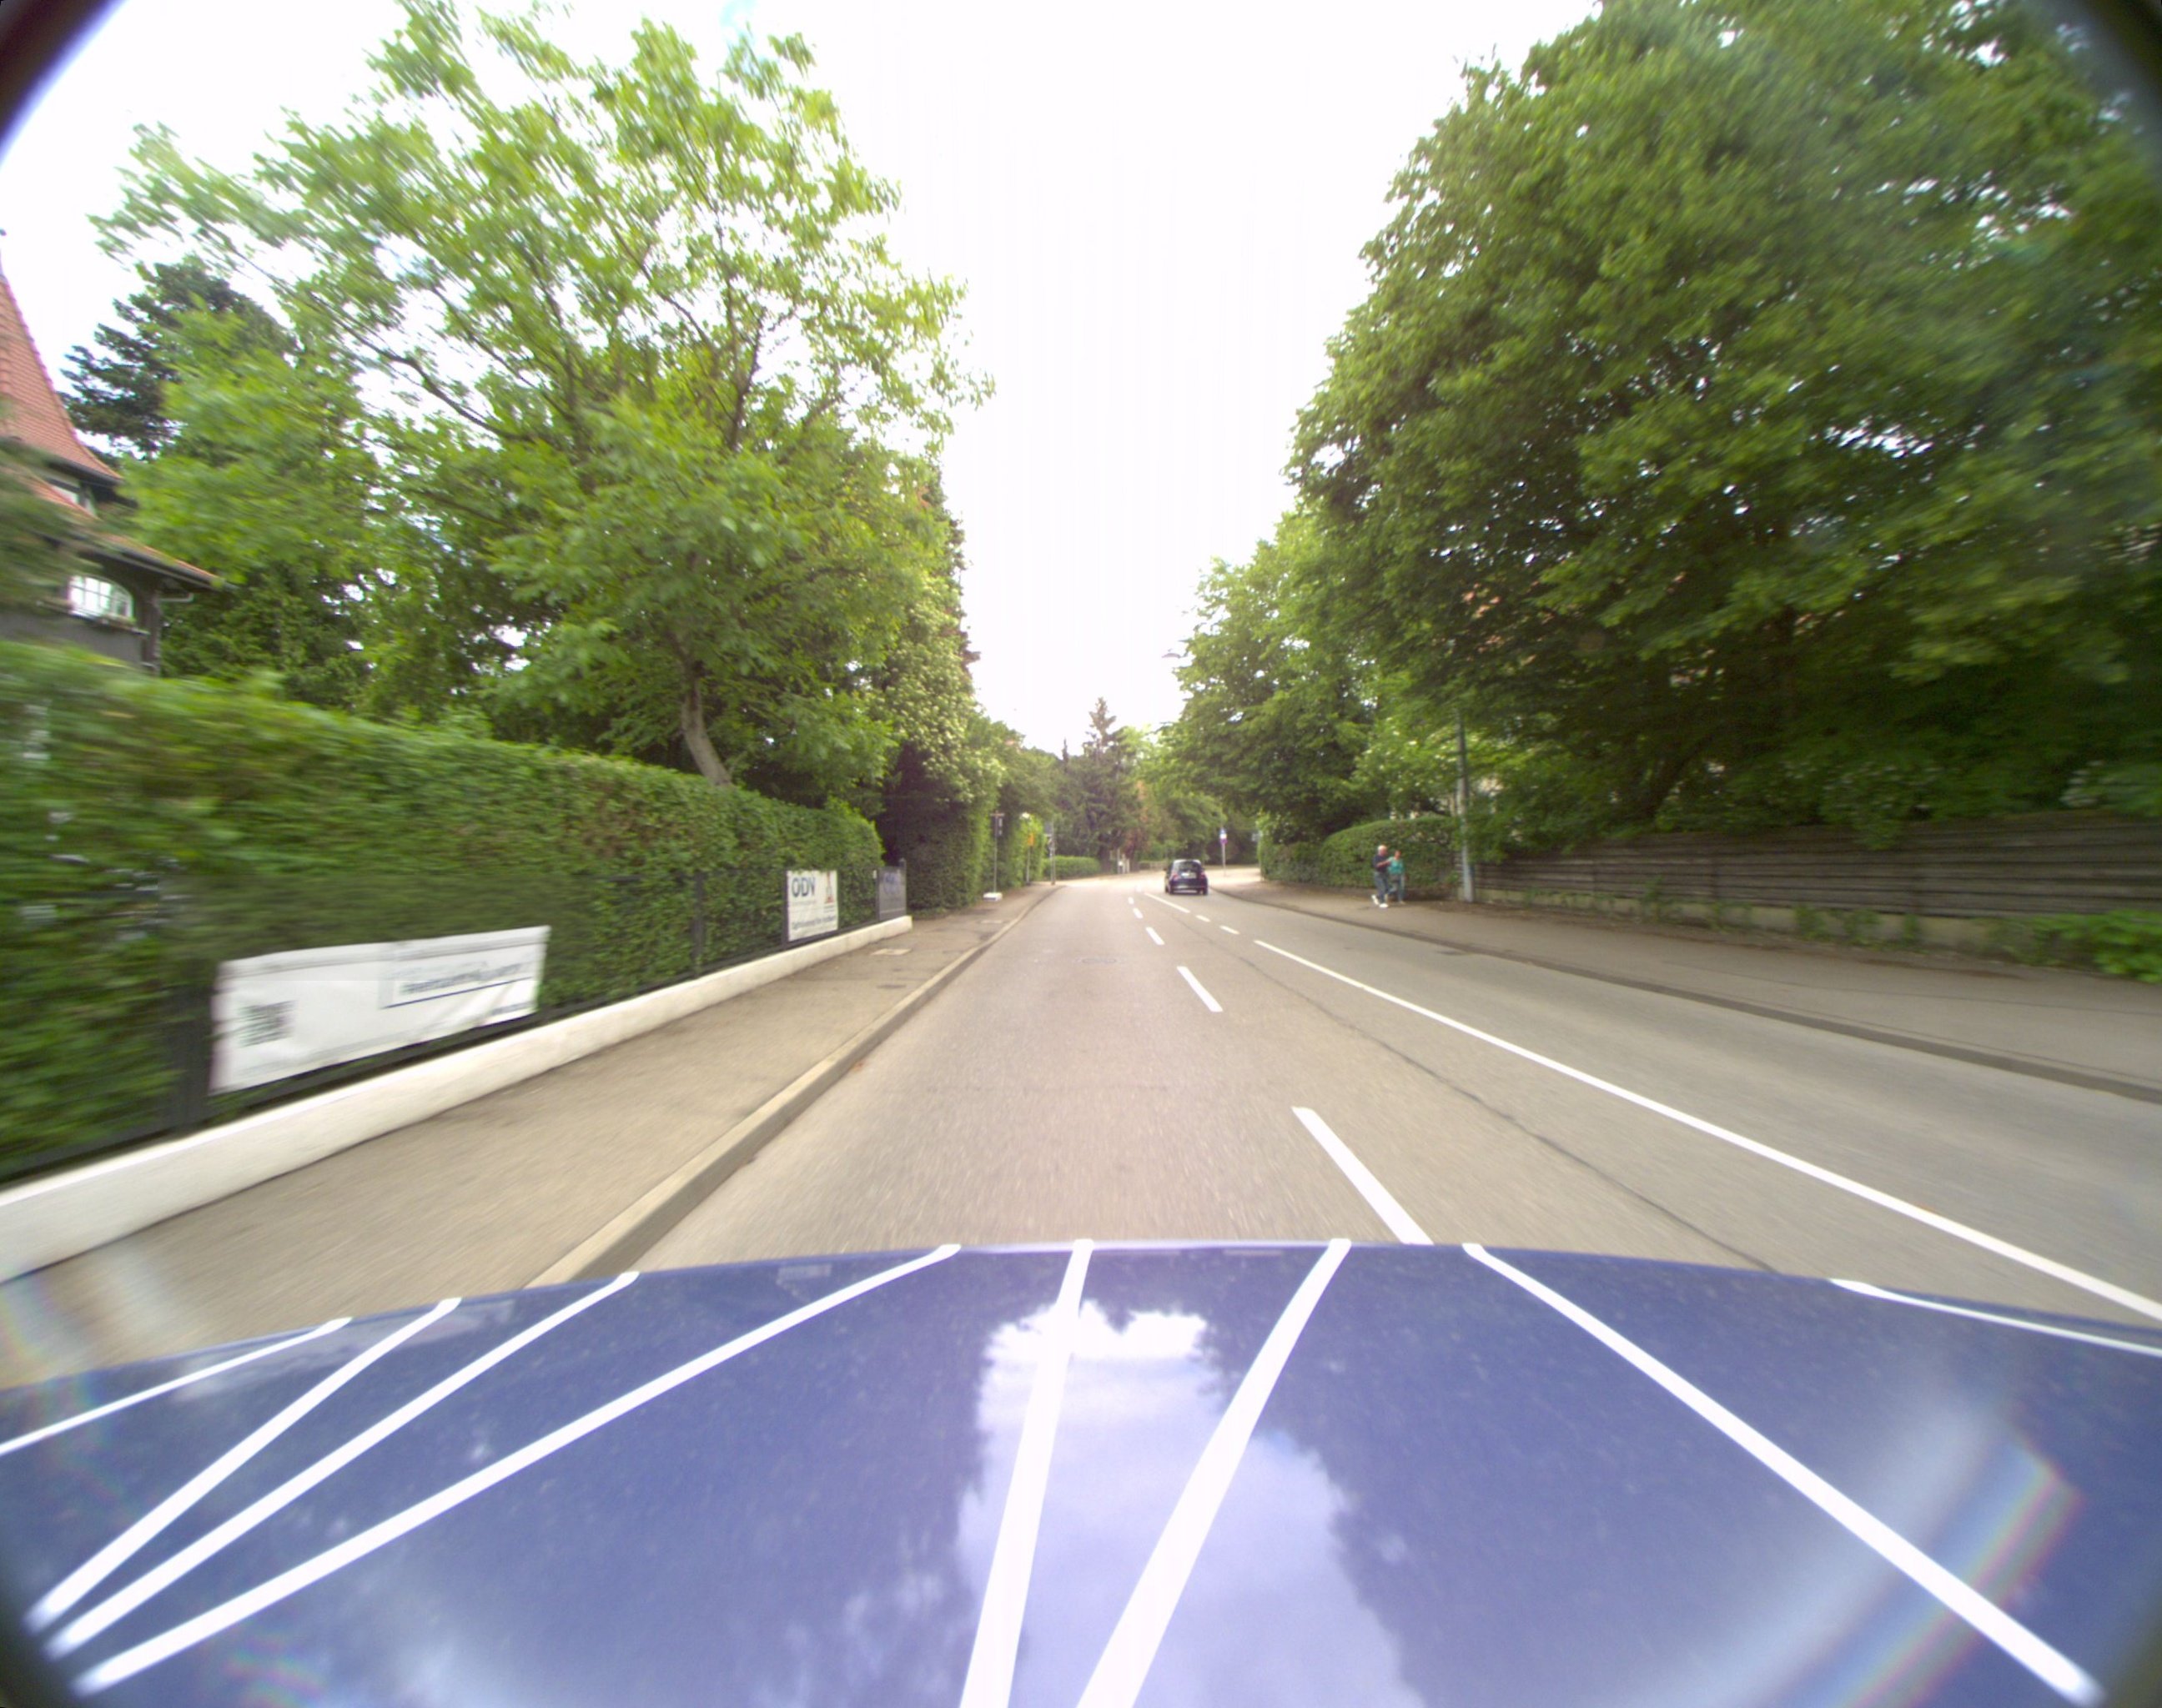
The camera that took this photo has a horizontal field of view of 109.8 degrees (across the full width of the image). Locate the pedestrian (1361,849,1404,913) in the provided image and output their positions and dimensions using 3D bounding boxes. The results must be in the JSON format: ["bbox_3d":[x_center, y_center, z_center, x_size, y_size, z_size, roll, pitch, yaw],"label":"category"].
[{"bbox_3d":[8.126,0.717,20.476,0.631,1.652,0.918,-2,1,-13],"label":"pedestrian"}]

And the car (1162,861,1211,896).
[{"bbox_3d":[4.513,1.021,33.003,1.724,1.463,3.531,0,0,1],"label":"car"}]

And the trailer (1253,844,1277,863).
[{"bbox_3d":[28.486,-0.110,117.710,3.118,2.882,1.596,-1,0,33],"label":"trailer"}]

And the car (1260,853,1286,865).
[{"bbox_3d":[22.512,0.571,89.073,1.808,1.434,4.207,0,1,32],"label":"car"}]

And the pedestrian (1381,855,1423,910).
[{"bbox_3d":[8.831,0.780,20.913,0.671,1.441,0.757,-4,1,-13],"label":"pedestrian"}]
